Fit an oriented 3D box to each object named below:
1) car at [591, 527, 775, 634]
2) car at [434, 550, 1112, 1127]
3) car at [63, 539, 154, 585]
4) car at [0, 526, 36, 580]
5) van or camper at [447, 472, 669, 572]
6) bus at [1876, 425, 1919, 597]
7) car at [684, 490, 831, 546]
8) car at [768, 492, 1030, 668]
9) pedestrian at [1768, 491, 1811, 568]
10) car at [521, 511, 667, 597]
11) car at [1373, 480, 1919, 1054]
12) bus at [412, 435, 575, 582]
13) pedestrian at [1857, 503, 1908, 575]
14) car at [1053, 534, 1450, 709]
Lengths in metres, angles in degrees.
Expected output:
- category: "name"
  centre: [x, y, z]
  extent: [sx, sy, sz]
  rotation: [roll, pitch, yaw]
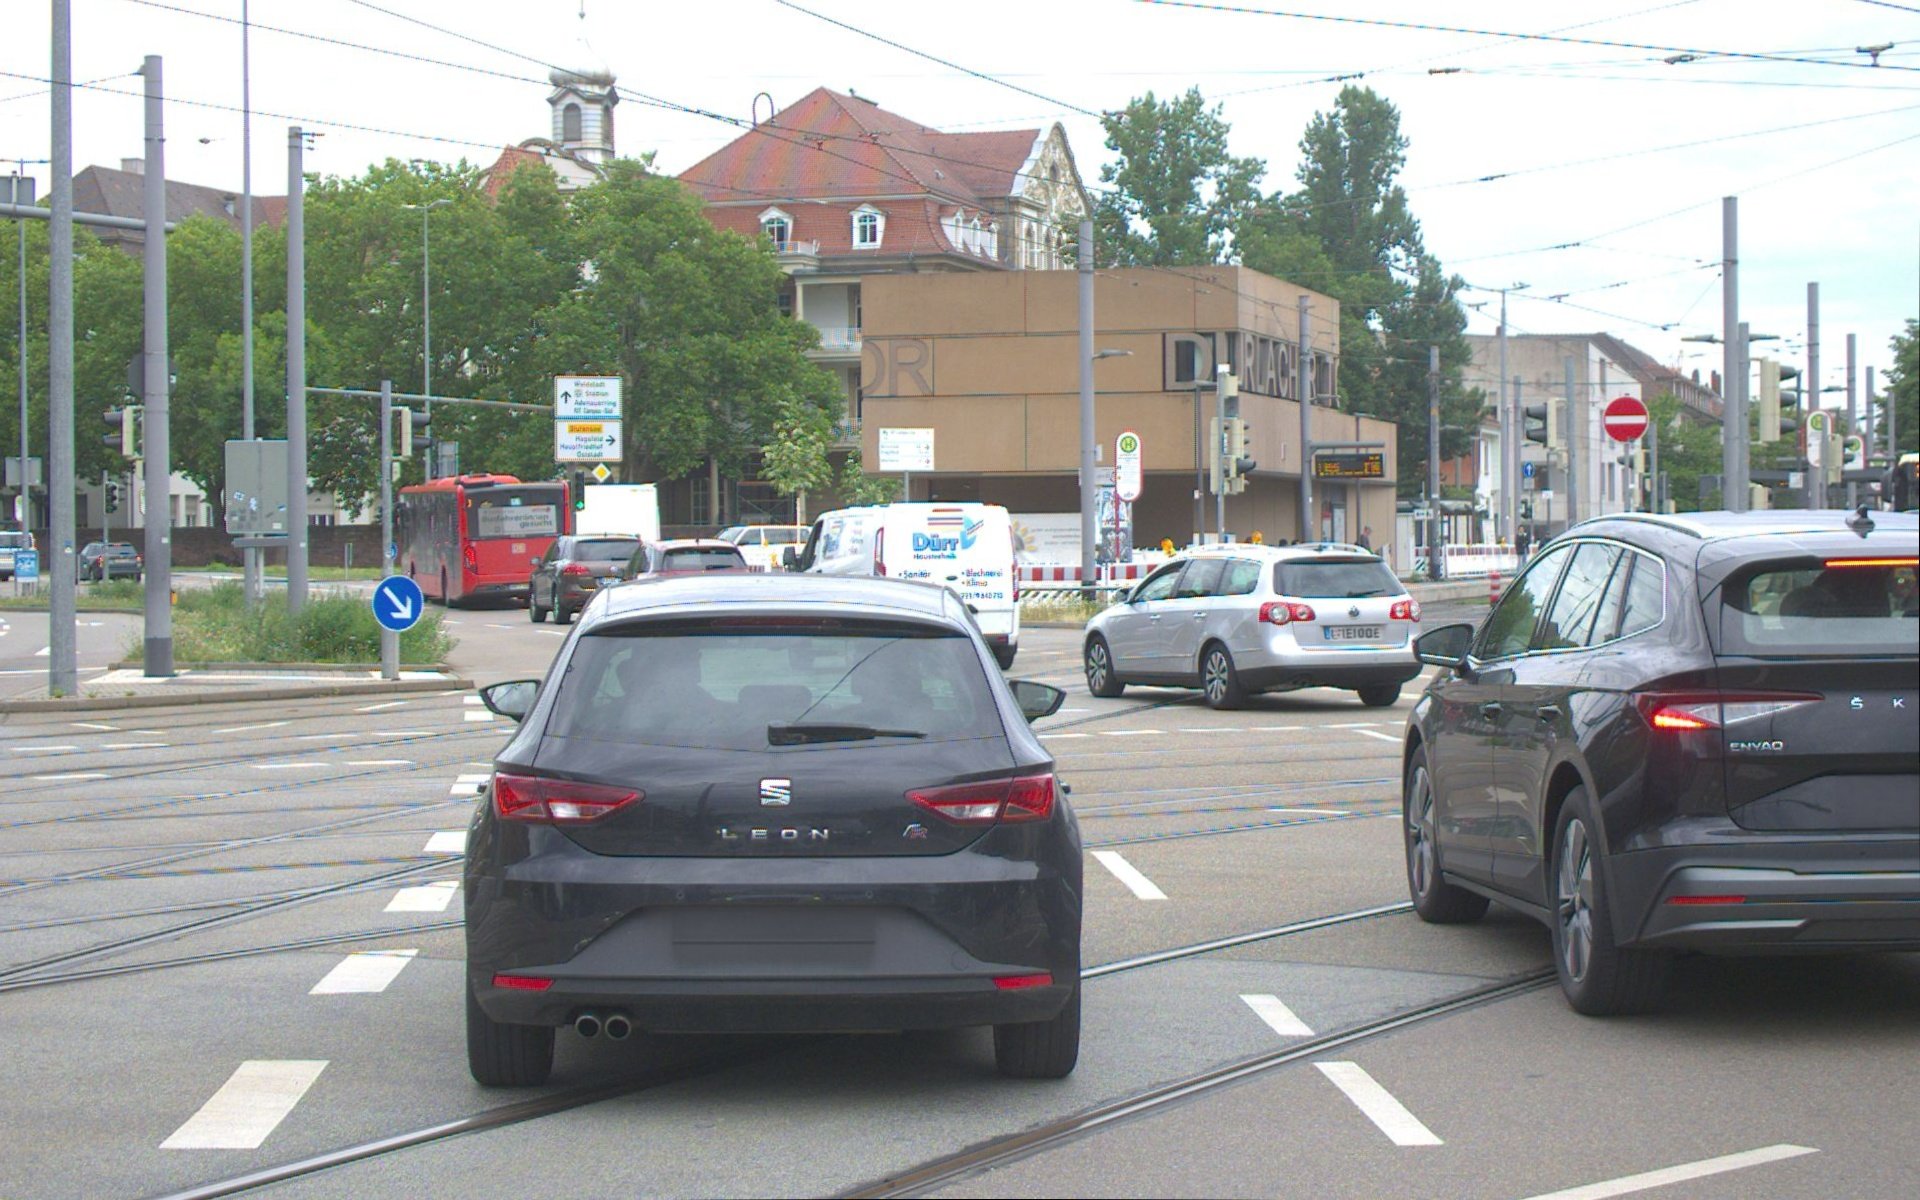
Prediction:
- category: "car"
  centre: [-4.419, -0.339, 54.331]
  extent: [1.857, 1.595, 4.206]
  rotation: [-1, 1, -19]
- category: "car"
  centre: [-0.598, 0.595, 10.914]
  extent: [1.745, 1.459, 4.001]
  rotation: [0, 1, -3]
- category: "car"
  centre: [-29.375, -1.319, 118.561]
  extent: [1.993, 1.533, 4.000]
  rotation: [-1, 1, -30]
- category: "car"
  centre: [-36.386, -1.773, 129.360]
  extent: [1.994, 2.007, 4.000]
  rotation: [-1, 1, -33]
- category: "van or camper"
  centre: [-13.908, -2.715, 119.259]
  extent: [7.131, 3.321, 2.876]
  rotation: [-1, 0, -38]
- category: "bus"
  centre: [20.875, -1.809, 70.943]
  extent: [3.019, 3.256, 13.031]
  rotation: [0, 1, 18]
- category: "car"
  centre: [-7.312, -2.965, 124.263]
  extent: [4.990, 1.858, 1.999]
  rotation: [-1, -2, -38]
- category: "car"
  centre: [-0.831, -0.287, 42.142]
  extent: [1.993, 2.012, 5.033]
  rotation: [-1, 1, -15]
- category: "pedestrian"
  centre: [19.598, -1.661, 81.206]
  extent: [0.824, 1.802, 1.020]
  rotation: [0, 1, 22]
- category: "car"
  centre: [-6.966, -0.894, 65.097]
  extent: [1.993, 1.560, 4.206]
  rotation: [-1, 1, -16]
- category: "car"
  centre: [2.776, 0.432, 12.216]
  extent: [1.903, 1.652, 4.515]
  rotation: [0, 1, -2]
- category: "bus"
  centre: [-11.461, -2.150, 83.471]
  extent: [3.057, 3.286, 12.383]
  rotation: [0, 1, -12]
- category: "pedestrian"
  centre: [21.027, -1.394, 78.360]
  extent: [1.005, 1.639, 1.020]
  rotation: [0, 1, 22]
- category: "car"
  centre: [2.626, 0.143, 32.196]
  extent: [1.720, 1.477, 4.630]
  rotation: [-2, 2, -23]
